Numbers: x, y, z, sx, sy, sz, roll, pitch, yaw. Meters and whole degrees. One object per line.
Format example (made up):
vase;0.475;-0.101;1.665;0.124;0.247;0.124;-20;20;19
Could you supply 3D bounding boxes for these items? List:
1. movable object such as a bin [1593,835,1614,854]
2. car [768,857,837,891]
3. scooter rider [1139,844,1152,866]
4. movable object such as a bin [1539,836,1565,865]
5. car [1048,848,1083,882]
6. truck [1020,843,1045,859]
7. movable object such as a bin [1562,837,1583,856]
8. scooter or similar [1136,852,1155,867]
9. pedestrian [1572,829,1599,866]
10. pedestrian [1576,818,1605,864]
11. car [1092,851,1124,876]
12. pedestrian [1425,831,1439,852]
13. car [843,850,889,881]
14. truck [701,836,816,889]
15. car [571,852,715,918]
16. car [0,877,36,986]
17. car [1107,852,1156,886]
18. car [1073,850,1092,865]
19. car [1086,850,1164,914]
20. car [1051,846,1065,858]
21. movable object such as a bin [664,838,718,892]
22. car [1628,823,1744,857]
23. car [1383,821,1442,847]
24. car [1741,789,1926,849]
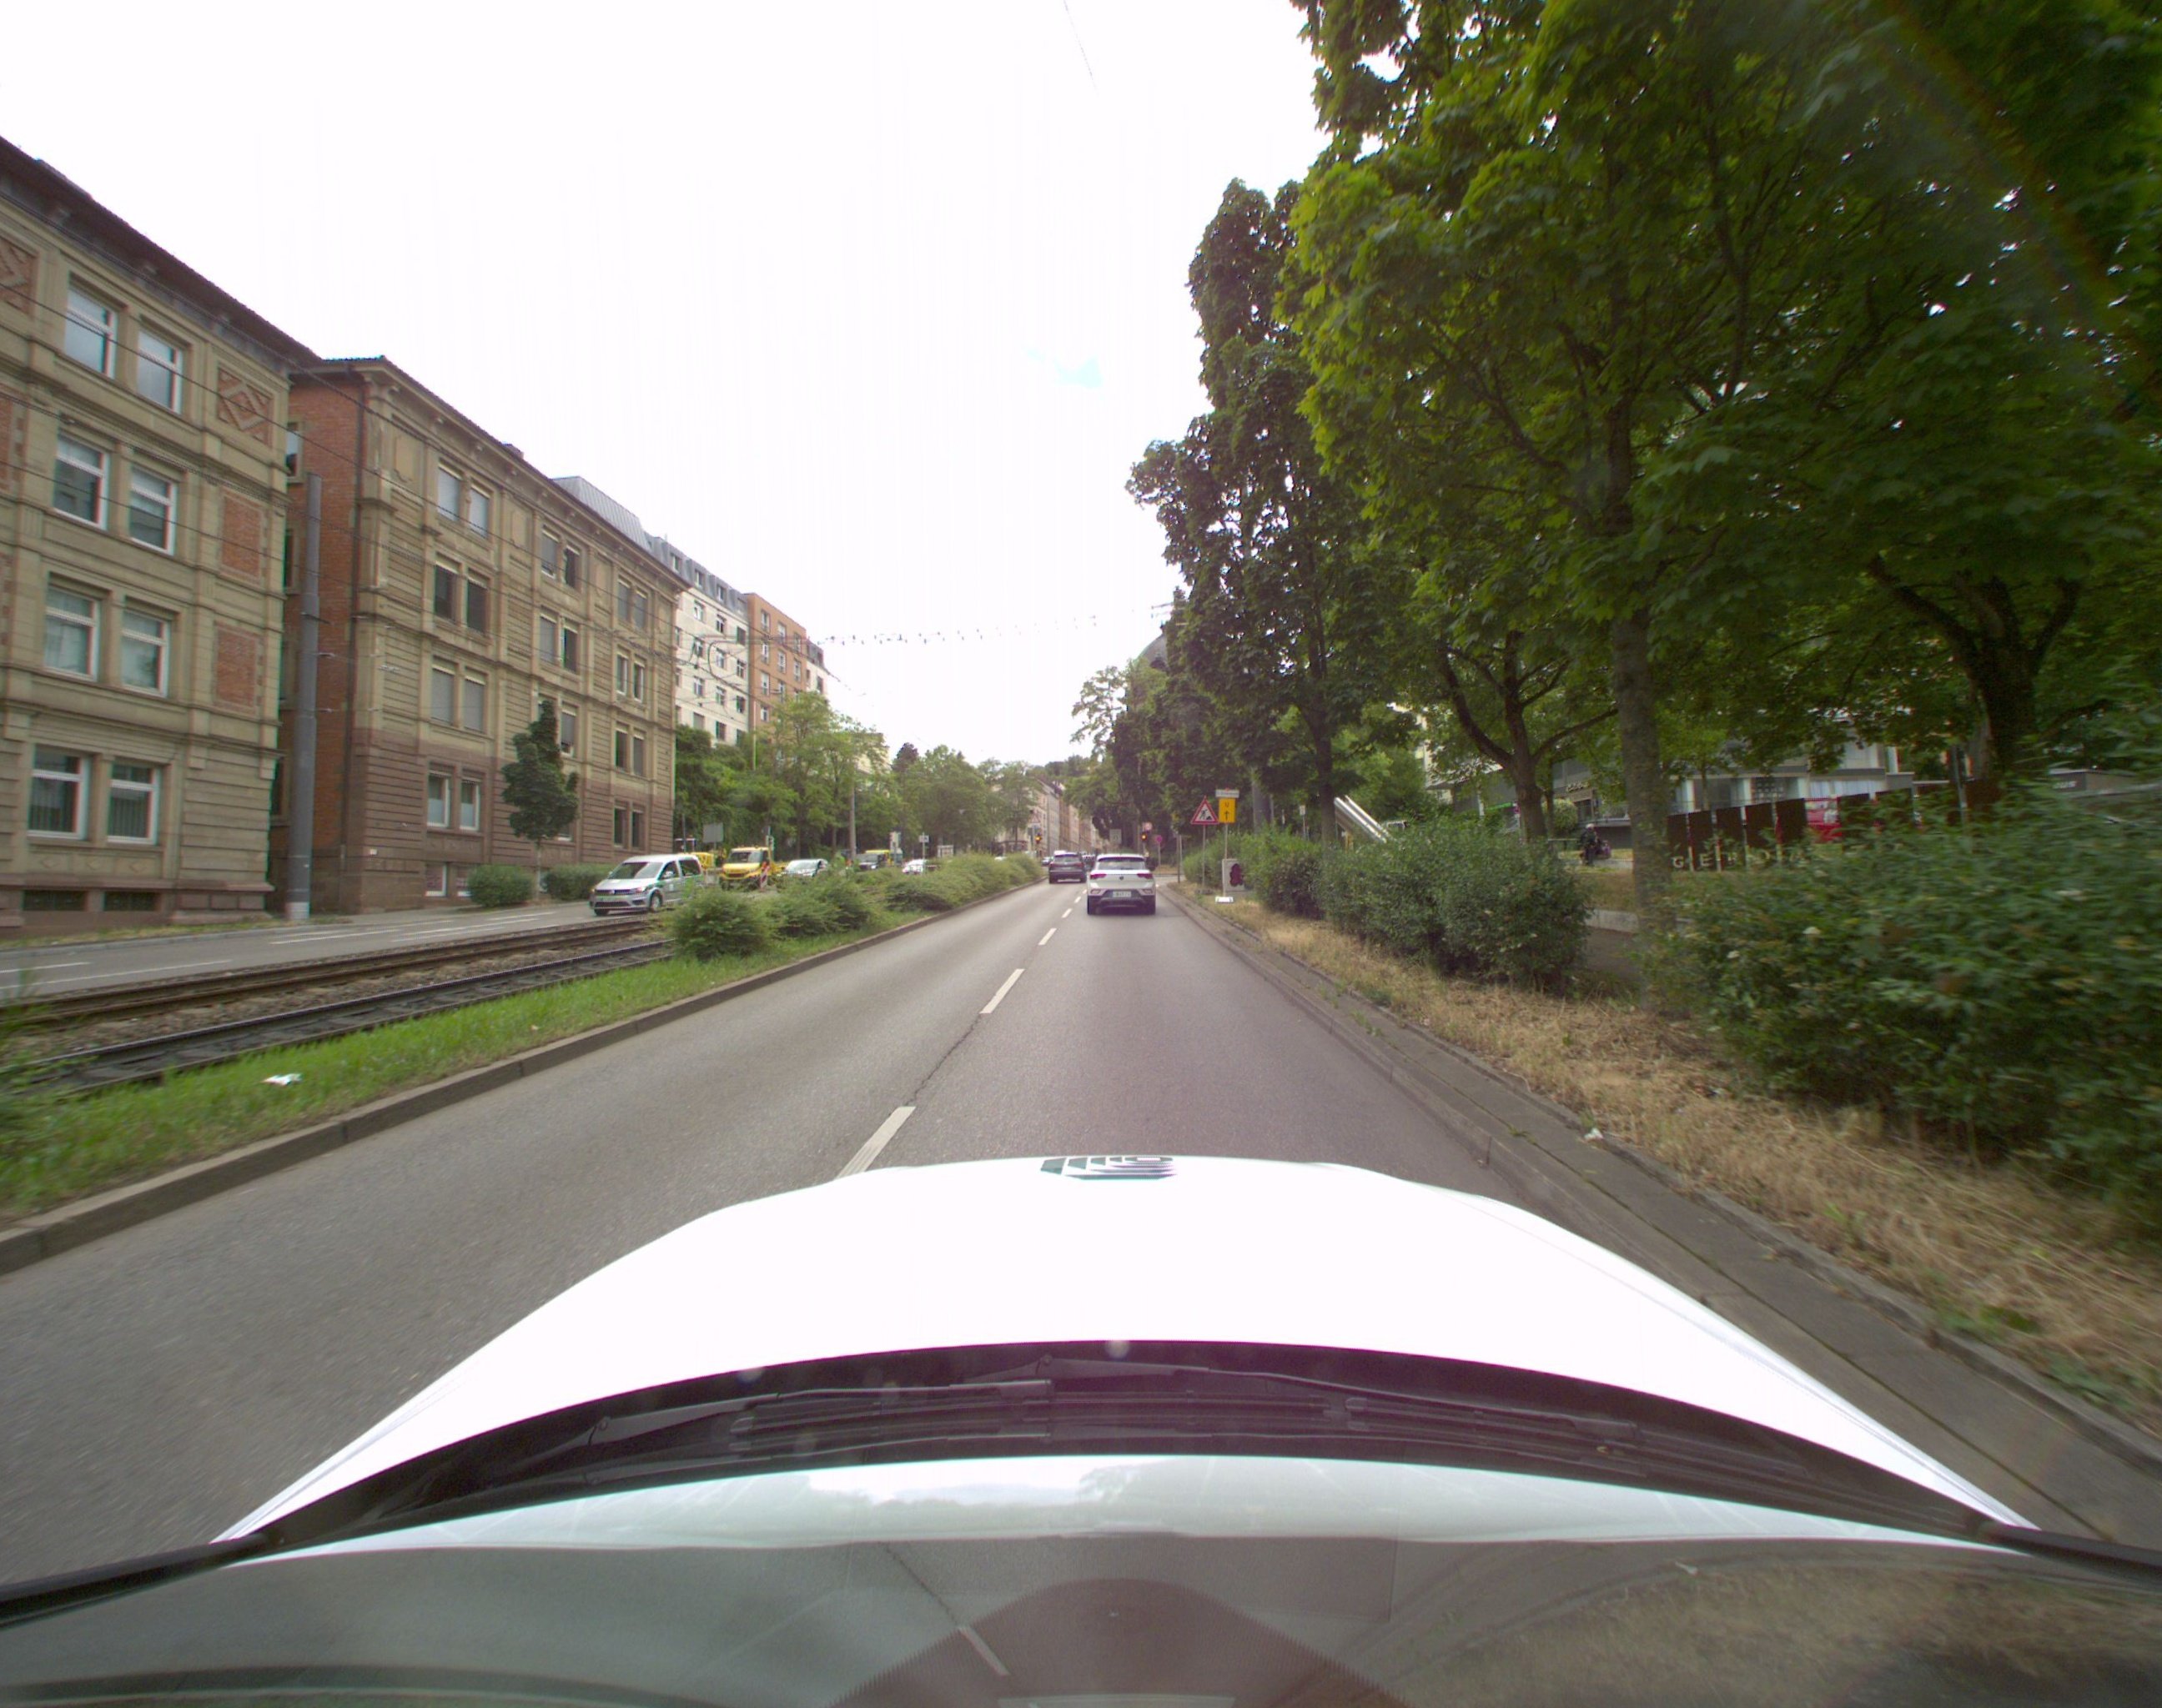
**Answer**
movable object such as a bin;31.198;-0.563;48.627;0.825;1.103;0.676;-2;0;-21
car;-13.543;0.976;39.860;1.859;1.555;4.436;-1;-1;0
scooter rider;4.604;0.078;58.270;0.778;1.558;0.530;-2;0;-13
movable object such as a bin;18.198;-0.144;31.490;0.666;1.082;0.610;1;-3;3
car;-0.831;0.644;44.649;1.834;1.740;3.997;0;-3;-1
truck;-6.980;-0.473;118.113;2.409;2.169;6.047;1;2;7
movable object such as a bin;30.175;-0.464;49.975;0.825;1.103;0.709;-2;0;-21
scooter or similar;4.622;0.396;58.270;1.188;0.994;0.529;-3;0;-13
pedestrian;18.093;-0.234;29.196;0.547;1.301;0.620;-2;0;1
pedestrian;17.649;-0.442;28.215;0.547;1.542;0.620;-2;-1;1
car;1.988;0.742;60.184;1.989;1.623;3.995;-2;-3;-3
pedestrian;25.251;-0.876;58.622;0.560;1.500;0.672;-2;-1;-23
car;-13.750;0.742;52.384;1.895;1.876;4.638;0;-1;-2
truck;-16.810;0.581;43.096;2.905;2.510;7.157;1;-3;3
car;-13.472;0.893;25.431;1.872;1.788;4.518;-3;0;1
car;-15.604;1.081;8.891;1.811;1.450;4.951;-2;0;3
car;2.485;0.793;40.974;1.899;1.574;3.827;1;-3;-5
car;0.275;0.495;123.315;2.411;2.169;6.040;1;0;4
car;1.110;0.703;22.170;1.932;1.566;4.046;0;-1;0
car;-4.041;-0.420;143.648;1.985;2.013;4.003;-3;0;3
movable object such as a bin;-21.484;0.603;44.882;1.989;2.838;2.027;-2;-1;-3
car;27.058;-0.600;36.551;1.622;1.279;3.889;2;-3;-25
car;28.391;-1.721;69.804;4.123;2.013;1.997;-2;0;-5
car;29.372;-1.289;32.006;2.032;2.028;4.941;2;-2;-25
